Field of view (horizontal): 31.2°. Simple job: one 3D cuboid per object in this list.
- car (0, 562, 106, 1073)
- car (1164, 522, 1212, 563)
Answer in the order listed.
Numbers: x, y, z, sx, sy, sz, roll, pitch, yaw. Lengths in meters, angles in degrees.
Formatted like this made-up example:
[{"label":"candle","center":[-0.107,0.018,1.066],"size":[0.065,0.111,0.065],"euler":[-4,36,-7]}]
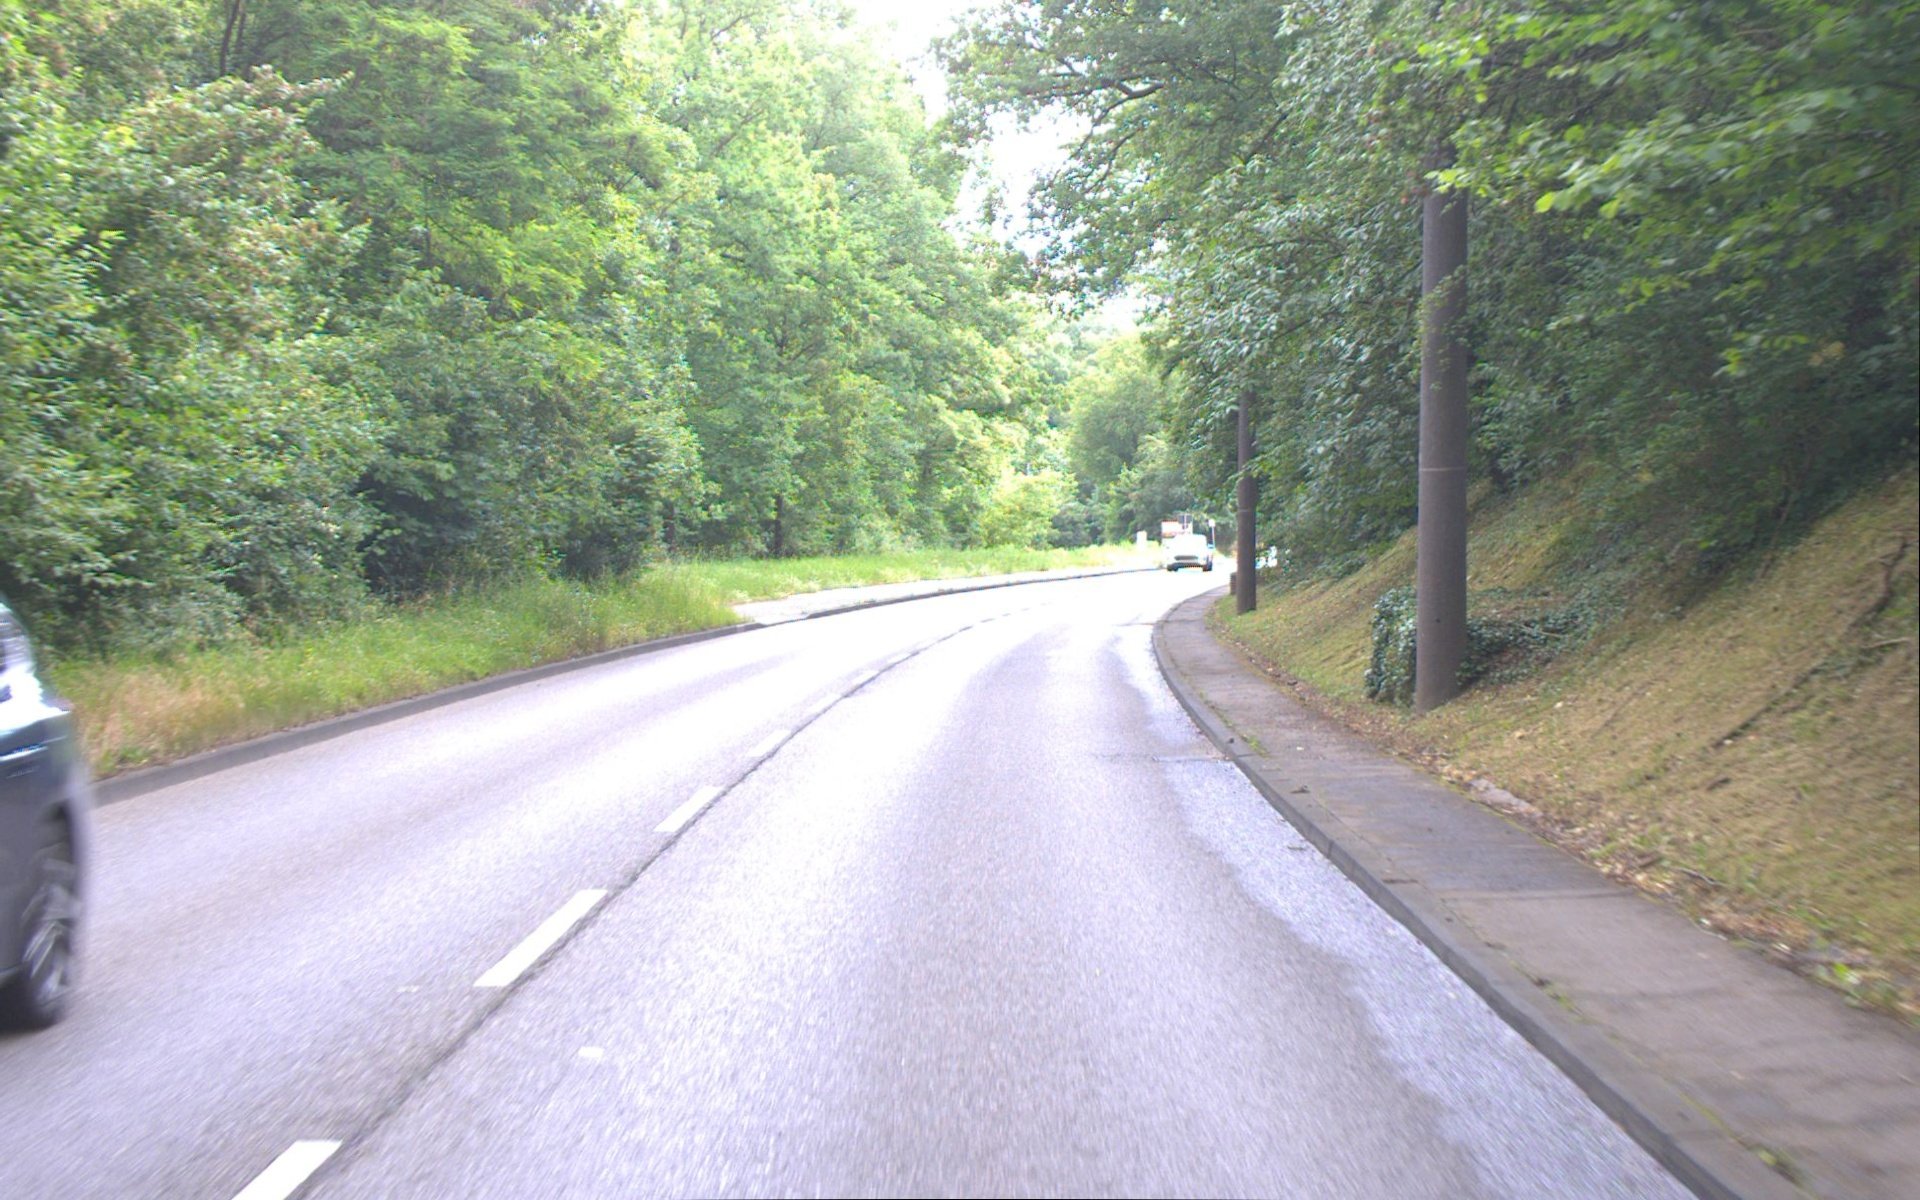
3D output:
[{"label":"car","center":[-3.639,0.594,8.973],"size":[1.993,1.432,4.000],"euler":[1,0,-3]},{"label":"car","center":[10.411,-2.617,156.735],"size":[1.994,1.747,4.781],"euler":[1,0,5]}]
